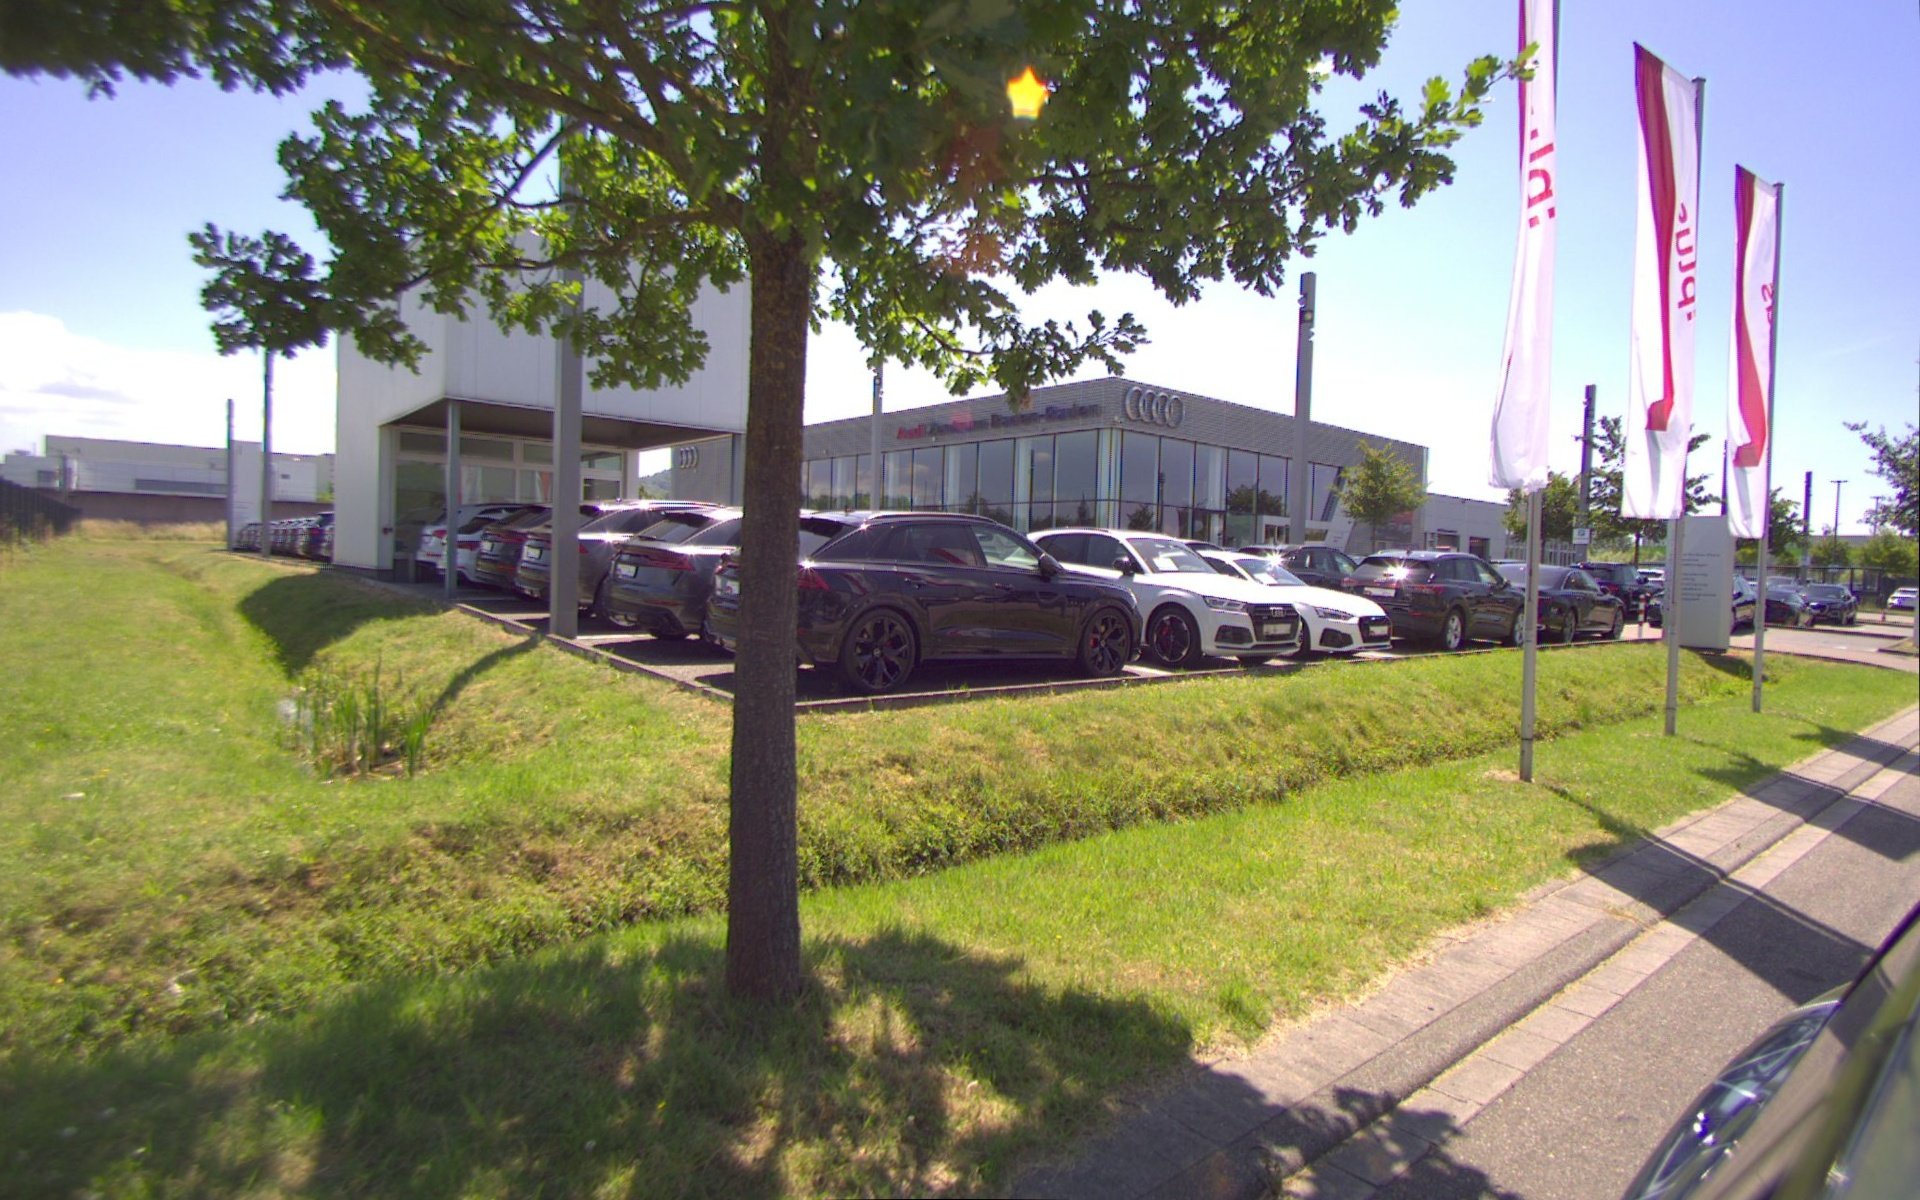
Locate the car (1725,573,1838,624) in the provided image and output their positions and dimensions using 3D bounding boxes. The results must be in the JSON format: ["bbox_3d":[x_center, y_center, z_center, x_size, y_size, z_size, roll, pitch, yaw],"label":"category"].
[{"bbox_3d":[26.880,-0.035,33.063,4.637,1.382,1.967,1,5,-41],"label":"car"}]

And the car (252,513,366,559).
[{"bbox_3d":[-28.251,-2.755,43.959,3.930,1.806,1.998,-1,3,-41],"label":"car"}]

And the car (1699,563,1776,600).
[{"bbox_3d":[37.156,-0.870,48.334,4.919,1.571,1.966,0,5,-42],"label":"car"}]

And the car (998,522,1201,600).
[{"bbox_3d":[3.319,-0.884,23.606,4.694,1.609,2.030,0,4,-40],"label":"car"}]

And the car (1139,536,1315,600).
[{"bbox_3d":[7.302,-0.853,27.421,4.988,1.473,2.031,0,6,-40],"label":"car"}]

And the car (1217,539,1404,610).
[{"bbox_3d":[8.767,-0.633,25.099,4.988,1.473,2.031,0,6,-40],"label":"car"}]

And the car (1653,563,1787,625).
[{"bbox_3d":[21.568,-0.243,28.647,4.900,1.473,1.966,-3,6,-41],"label":"car"}]

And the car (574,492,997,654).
[{"bbox_3d":[-2.006,-0.355,12.442,4.722,1.629,2.031,0,4,-39],"label":"car"}]

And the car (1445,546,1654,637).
[{"bbox_3d":[12.268,-0.209,20.902,5.146,1.532,2.031,0,6,-40],"label":"car"}]

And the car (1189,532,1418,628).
[{"bbox_3d":[6.748,-0.403,19.635,4.694,1.609,2.030,0,4,-40],"label":"car"}]

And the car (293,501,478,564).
[{"bbox_3d":[-17.747,-2.067,31.380,4.722,1.746,2.031,0,4,-39],"label":"car"}]

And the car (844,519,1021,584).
[{"bbox_3d":[-0.695,-1.313,28.024,4.697,1.609,2.029,-1,4,-42],"label":"car"}]

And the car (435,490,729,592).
[{"bbox_3d":[-6.946,-1.048,18.838,4.722,1.674,2.031,0,4,-39],"label":"car"}]

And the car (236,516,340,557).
[{"bbox_3d":[-31.973,-3.000,48.158,3.930,1.806,1.998,-1,3,-41],"label":"car"}]

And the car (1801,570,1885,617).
[{"bbox_3d":[34.953,-0.273,40.015,4.154,1.589,1.892,0,6,-42],"label":"car"}]

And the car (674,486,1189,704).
[{"bbox_3d":[-0.100,-0.118,10.322,5.016,1.713,2.031,0,4,-39],"label":"car"}]

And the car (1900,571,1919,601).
[{"bbox_3d":[53.681,-0.739,56.038,4.860,1.547,1.824,0,5,-42],"label":"car"}]

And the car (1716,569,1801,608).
[{"bbox_3d":[33.215,-0.487,42.065,4.154,1.382,1.966,0,6,-42],"label":"car"}]

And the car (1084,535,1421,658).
[{"bbox_3d":[4.275,-0.157,15.401,1.997,1.474,4.538,0,4,-42],"label":"car"}]

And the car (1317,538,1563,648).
[{"bbox_3d":[8.382,-0.160,17.494,4.694,1.592,2.030,0,4,-40],"label":"car"}]

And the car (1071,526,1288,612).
[{"bbox_3d":[4.754,-0.653,21.547,4.694,1.609,2.030,0,4,-40],"label":"car"}]

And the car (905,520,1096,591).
[{"bbox_3d":[1.097,-1.100,25.790,4.694,1.609,2.030,0,4,-40],"label":"car"}]

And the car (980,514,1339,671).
[{"bbox_3d":[2.473,-0.233,13.677,1.993,1.713,4.544,0,4,-37],"label":"car"}]

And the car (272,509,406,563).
[{"bbox_3d":[-22.684,-2.316,37.031,3.930,1.806,1.998,-1,3,-41],"label":"car"}]

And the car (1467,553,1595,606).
[{"bbox_3d":[18.405,-0.734,32.538,4.900,1.473,1.966,-3,6,-41],"label":"car"}]

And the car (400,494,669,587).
[{"bbox_3d":[-8.678,-1.187,20.859,4.722,1.674,2.031,0,4,-39],"label":"car"}]

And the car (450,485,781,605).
[{"bbox_3d":[-5.553,-0.865,16.625,4.722,1.699,2.031,0,4,-39],"label":"car"}]

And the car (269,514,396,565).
[{"bbox_3d":[-24.280,-2.321,39.197,3.930,1.806,1.998,-1,3,-41],"label":"car"}]

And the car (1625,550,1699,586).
[{"bbox_3d":[34.489,-1.563,49.694,4.215,1.632,1.966,0,5,-42],"label":"car"}]

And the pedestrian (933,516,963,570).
[{"bbox_3d":[-0.400,-1.884,33.387,0.626,1.717,0.711,3,0,-41],"label":"pedestrian"}]

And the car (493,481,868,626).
[{"bbox_3d":[-3.860,-0.638,14.438,4.722,1.746,2.031,0,4,-39],"label":"car"}]

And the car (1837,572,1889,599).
[{"bbox_3d":[59.580,-0.952,66.775,4.546,1.649,1.966,0,5,-42],"label":"car"}]

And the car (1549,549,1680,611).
[{"bbox_3d":[19.798,-0.668,30.528,4.900,1.616,1.966,-3,6,-41],"label":"car"}]
